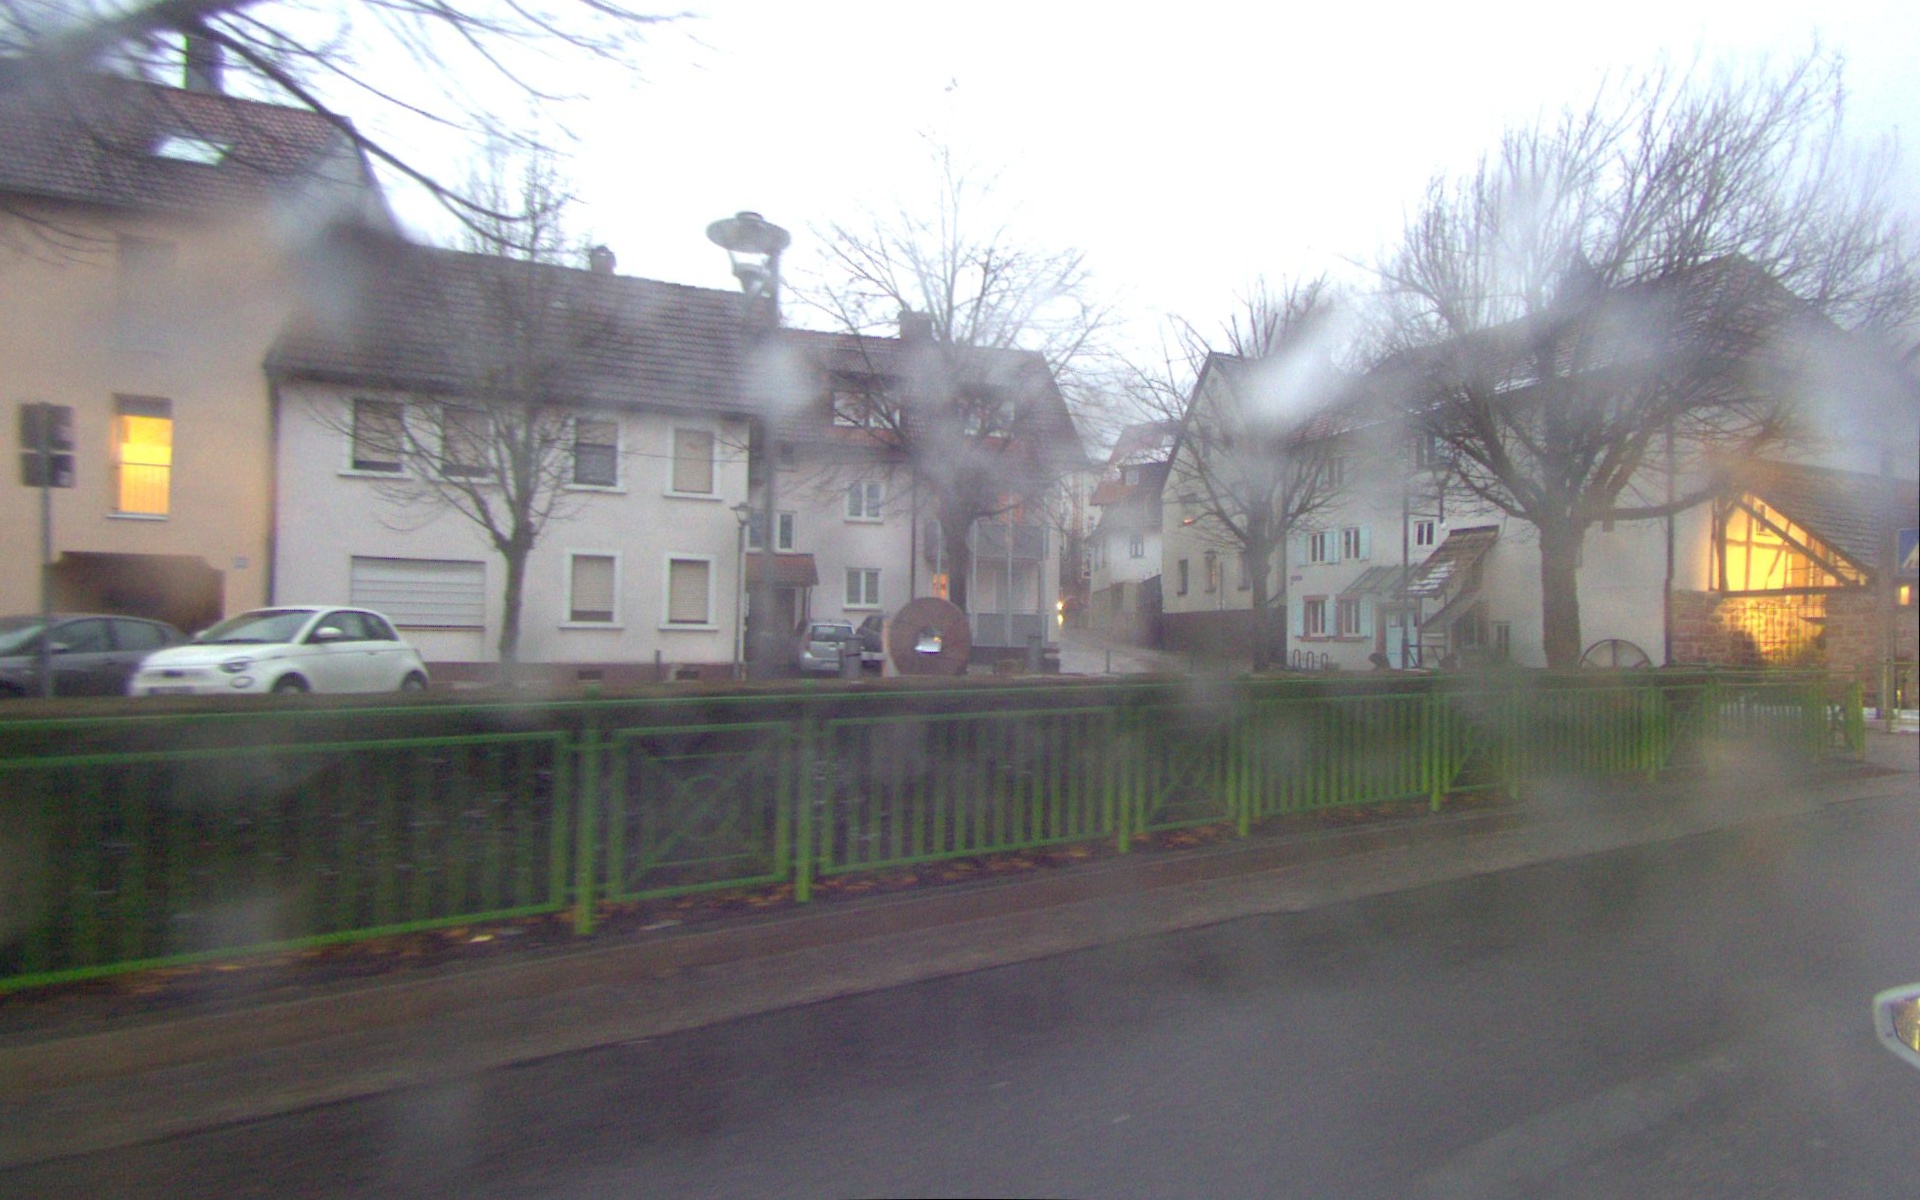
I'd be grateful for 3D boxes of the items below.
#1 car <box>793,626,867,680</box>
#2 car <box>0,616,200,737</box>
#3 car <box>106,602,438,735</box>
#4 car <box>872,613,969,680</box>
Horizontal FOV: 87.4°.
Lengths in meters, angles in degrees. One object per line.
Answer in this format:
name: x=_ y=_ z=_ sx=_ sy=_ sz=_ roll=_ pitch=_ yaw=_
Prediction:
car: x=-3.577 y=1.395 z=27.273 sx=1.504 sy=1.142 sz=3.043 roll=1 pitch=3 yaw=-17
car: x=-10.829 y=0.827 z=11.656 sx=1.578 sy=1.236 sz=3.057 roll=1 pitch=-1 yaw=4
car: x=-8.432 y=0.762 z=12.711 sx=1.578 sy=1.428 sz=3.487 roll=1 pitch=-1 yaw=6
car: x=-1.173 y=1.242 z=28.108 sx=1.687 sy=1.633 sz=3.593 roll=1 pitch=1 yaw=-20
